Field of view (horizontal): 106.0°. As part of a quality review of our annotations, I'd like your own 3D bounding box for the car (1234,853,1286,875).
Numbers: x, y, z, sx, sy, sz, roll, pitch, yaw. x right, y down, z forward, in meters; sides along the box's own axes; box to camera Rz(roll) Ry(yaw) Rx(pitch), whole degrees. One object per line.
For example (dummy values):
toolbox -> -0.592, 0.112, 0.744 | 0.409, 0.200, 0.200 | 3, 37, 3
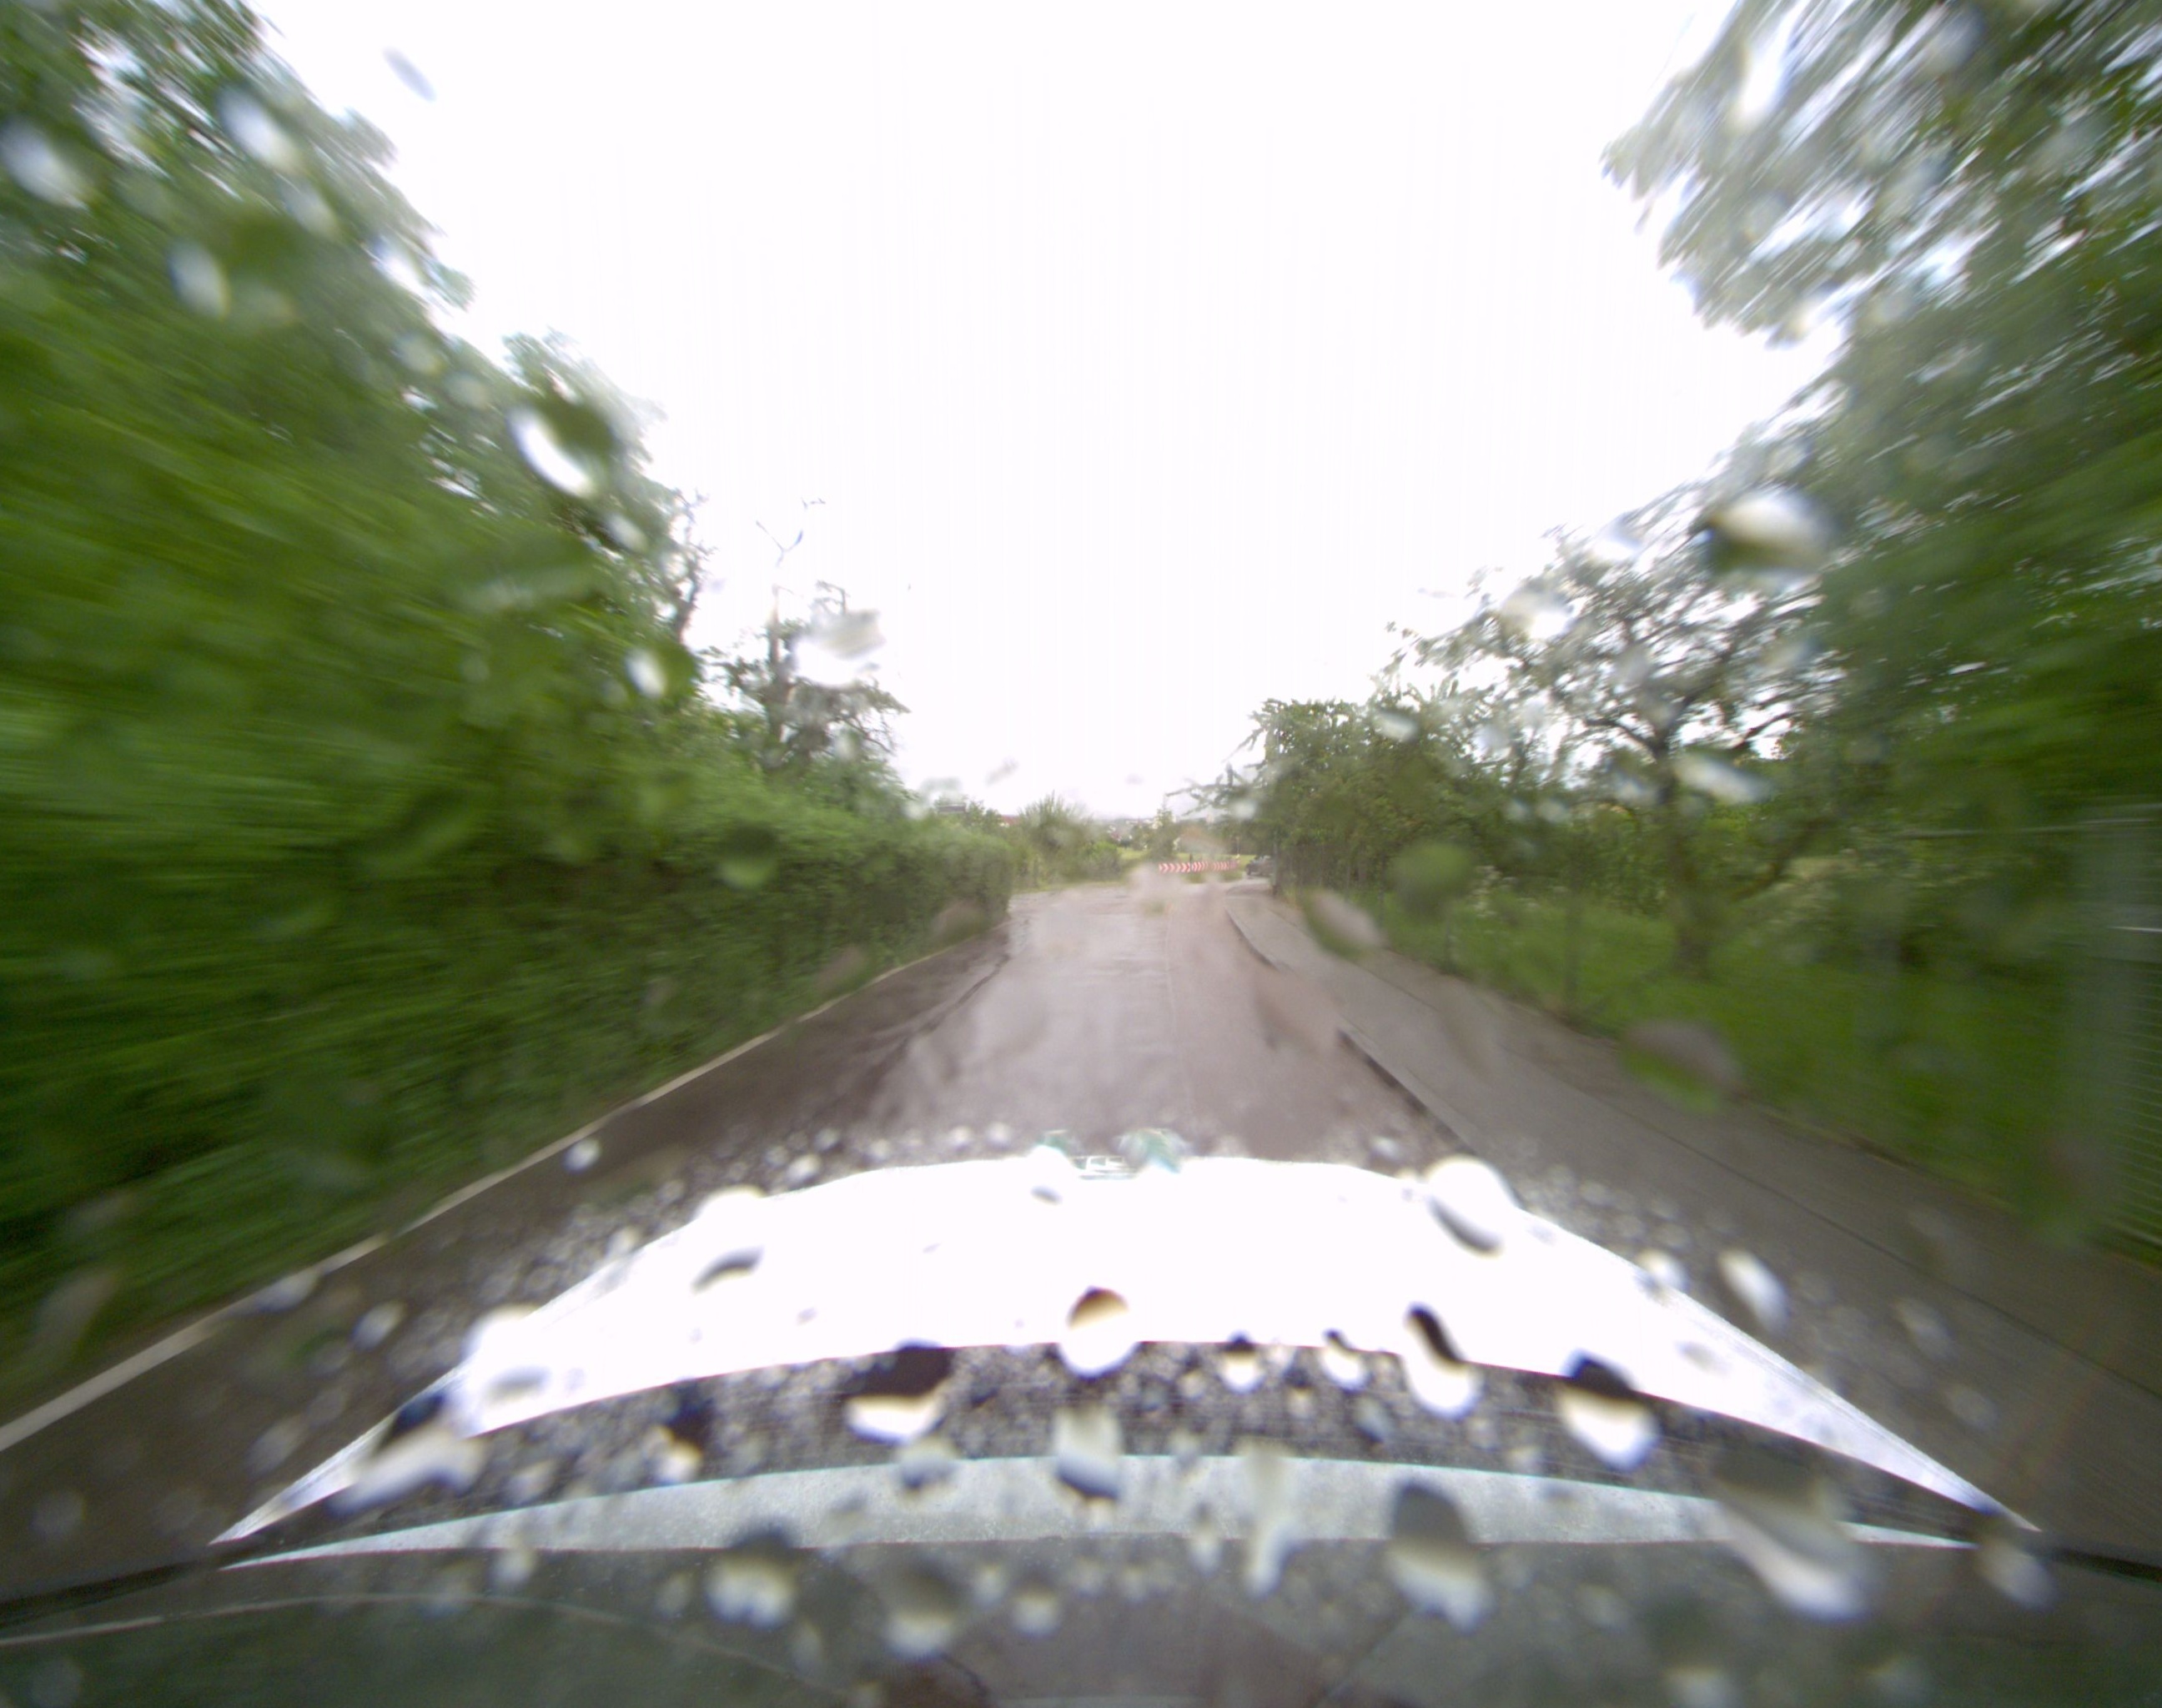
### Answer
car -> 13.163, 0.742, 60.159 | 1.822, 1.594, 3.971 | 0, -1, -22
